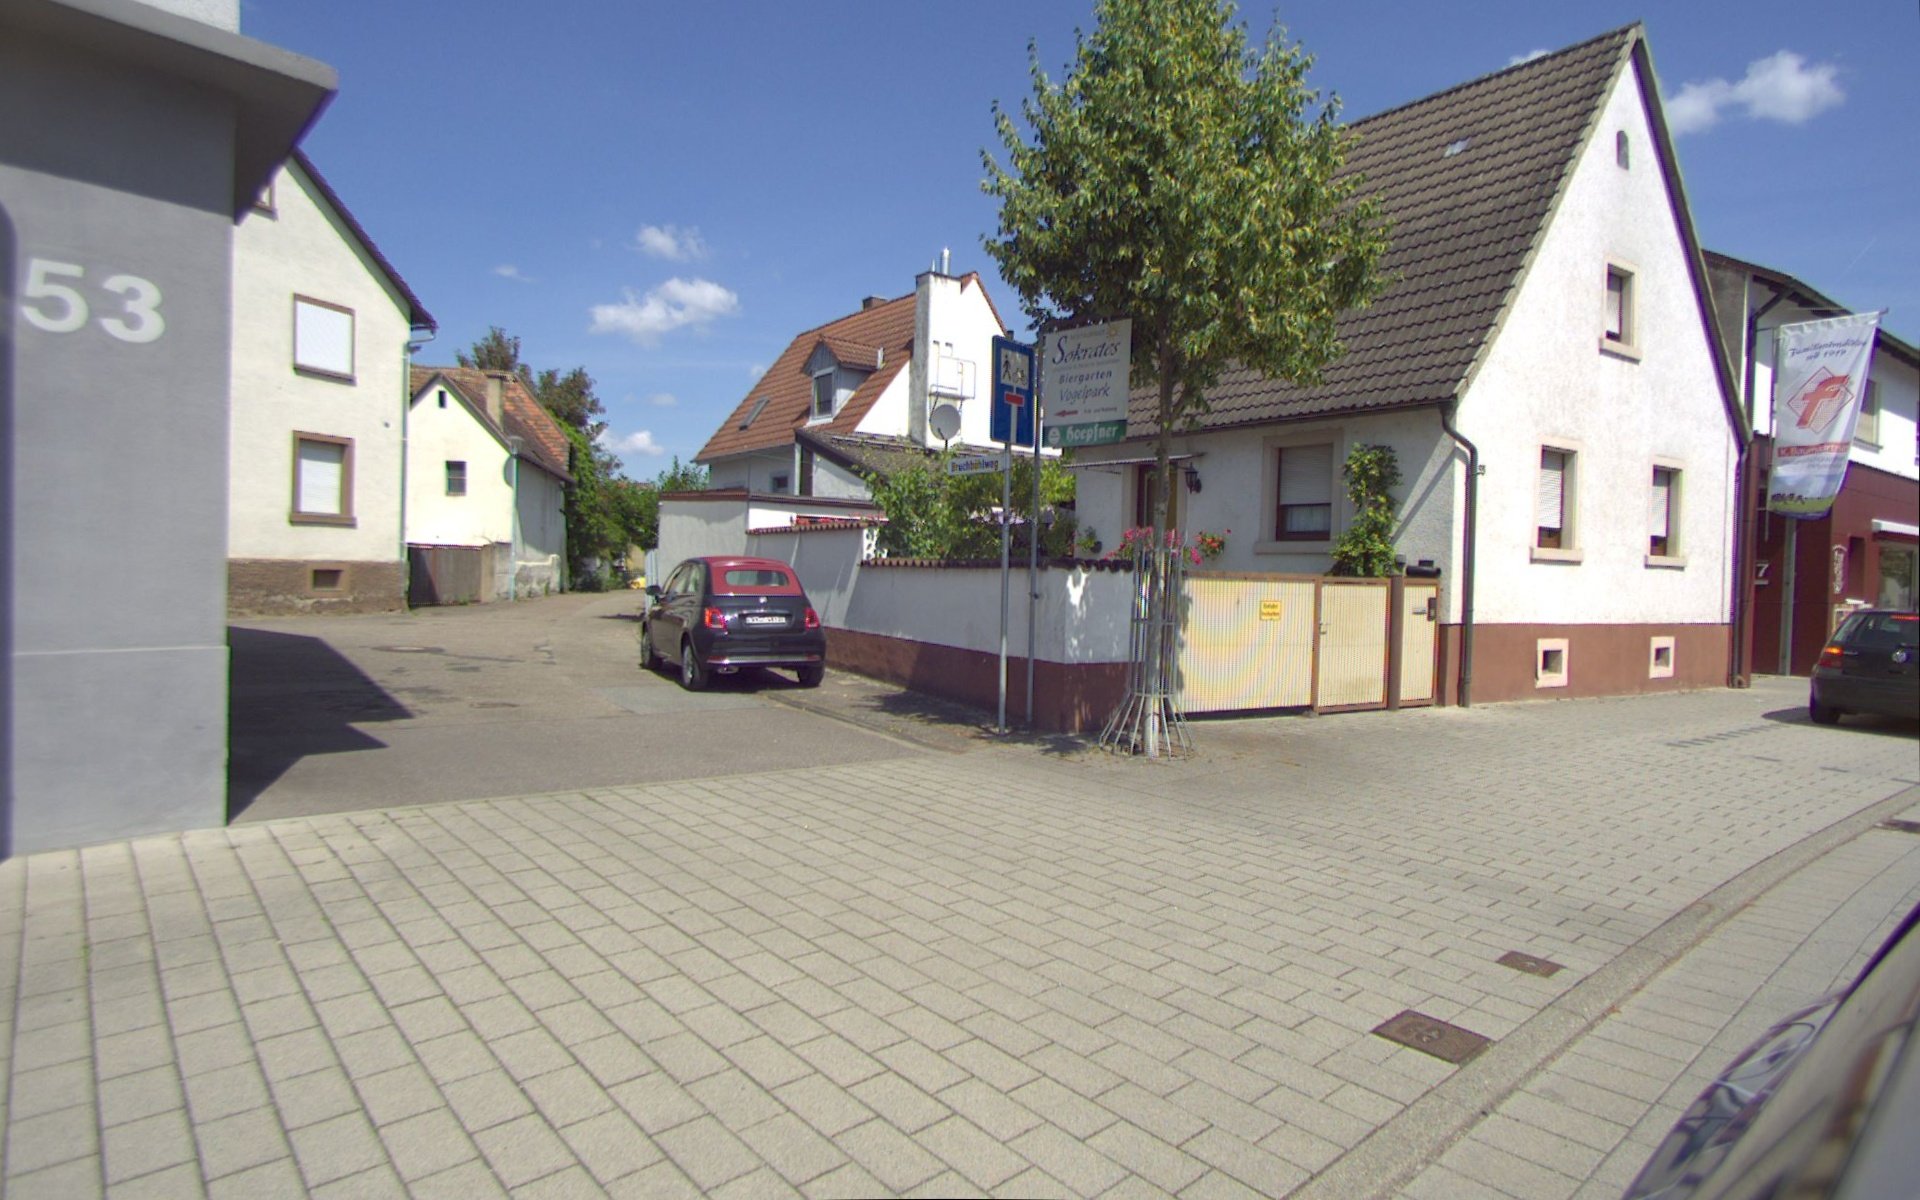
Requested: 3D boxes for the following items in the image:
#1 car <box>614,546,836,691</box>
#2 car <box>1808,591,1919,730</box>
[{"bbox_3d":[-3.111,0.107,12.814,1.646,1.538,3.819,0,2,-31],"label":"car"},{"bbox_3d":[11.988,0.678,12.134,4.041,1.456,1.766,0,3,-35],"label":"car"}]
